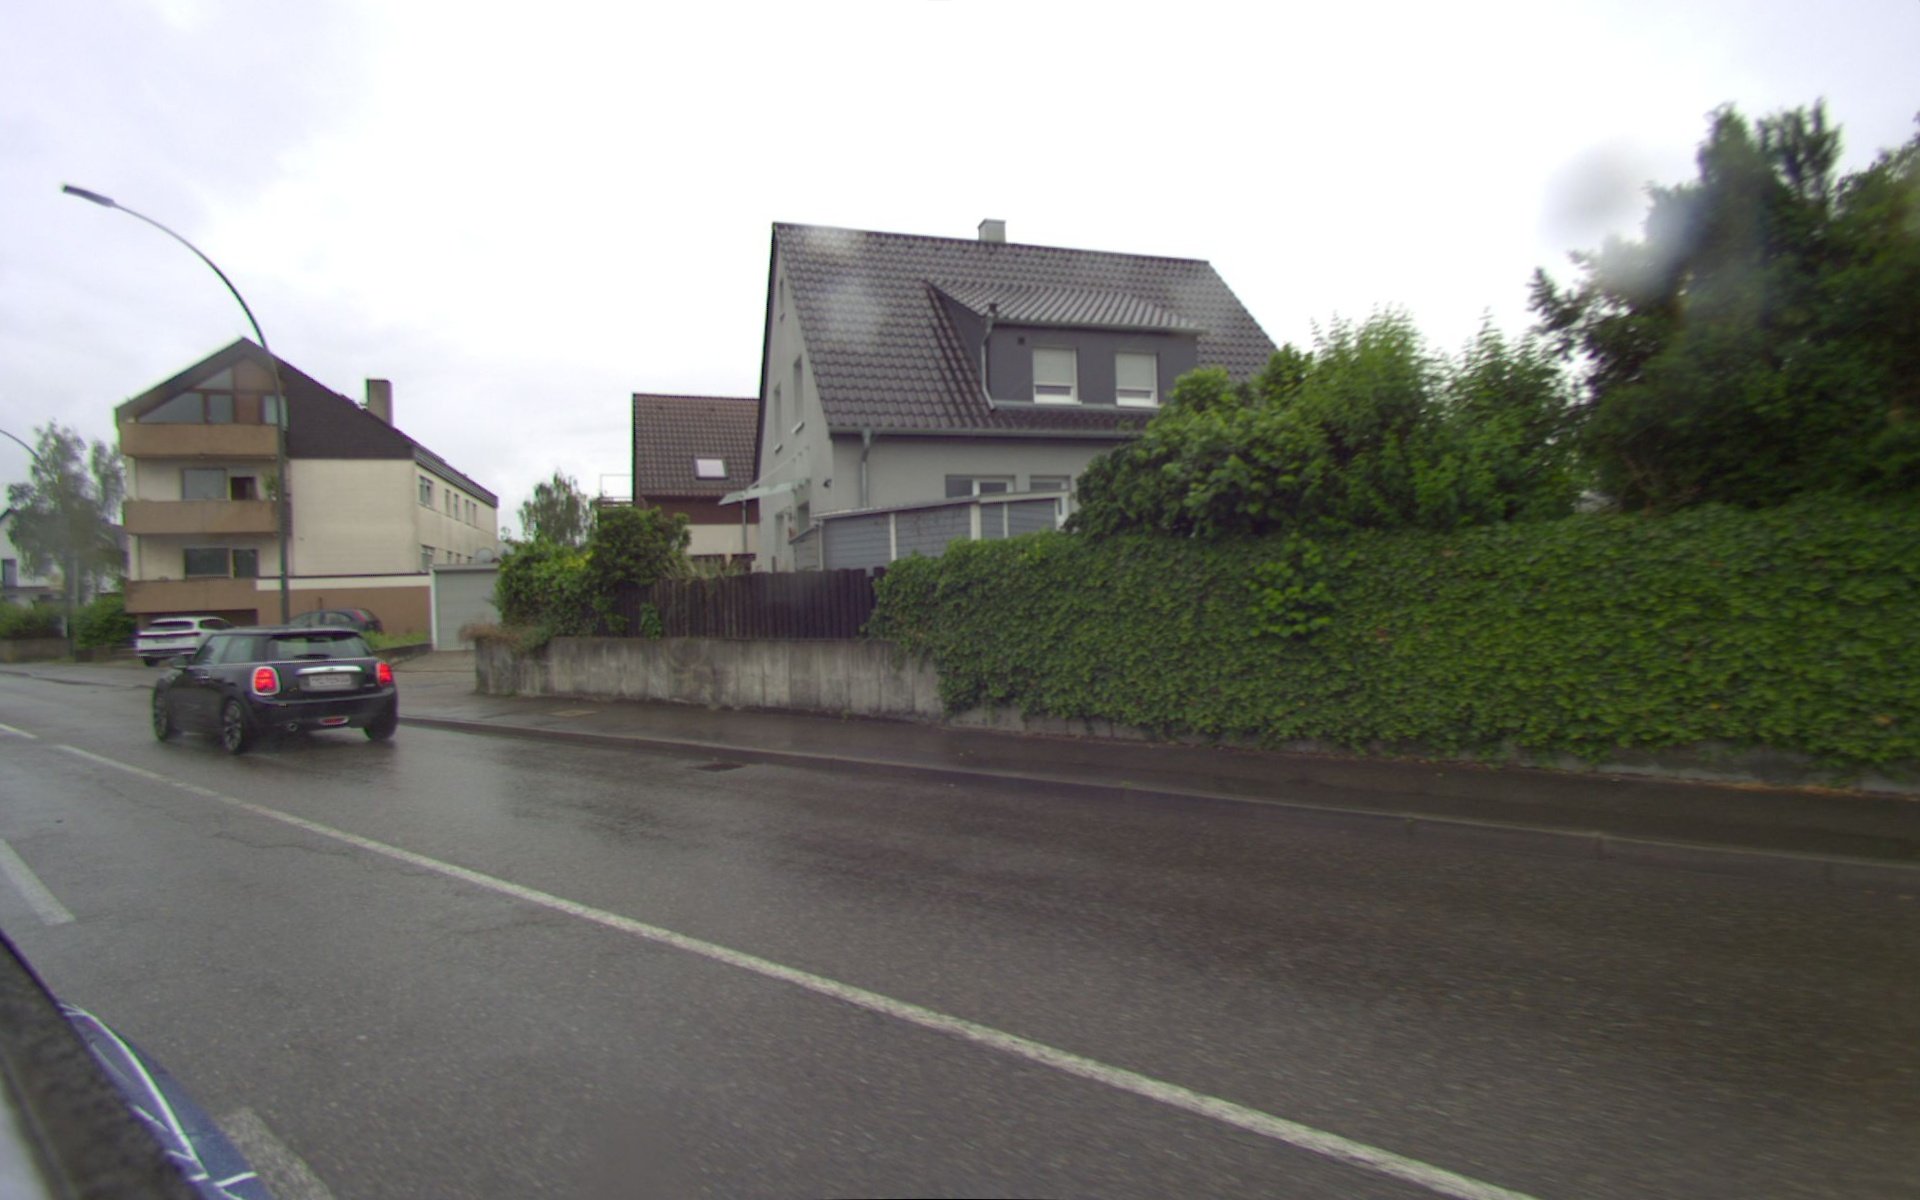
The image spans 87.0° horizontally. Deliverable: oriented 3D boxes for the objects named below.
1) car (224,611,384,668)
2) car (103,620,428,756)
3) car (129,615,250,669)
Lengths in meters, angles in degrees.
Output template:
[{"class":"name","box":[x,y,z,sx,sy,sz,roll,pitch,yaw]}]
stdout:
[{"class":"car","box":[-19.388,1.136,30.054,3.609,1.530,1.759,-1,0,-15]},{"class":"car","box":[-8.962,0.989,12.940,4.613,1.415,1.976,-1,-1,35]},{"class":"car","box":[-24.756,1.289,32.675,1.837,1.530,4.012,-1,0,-17]}]
